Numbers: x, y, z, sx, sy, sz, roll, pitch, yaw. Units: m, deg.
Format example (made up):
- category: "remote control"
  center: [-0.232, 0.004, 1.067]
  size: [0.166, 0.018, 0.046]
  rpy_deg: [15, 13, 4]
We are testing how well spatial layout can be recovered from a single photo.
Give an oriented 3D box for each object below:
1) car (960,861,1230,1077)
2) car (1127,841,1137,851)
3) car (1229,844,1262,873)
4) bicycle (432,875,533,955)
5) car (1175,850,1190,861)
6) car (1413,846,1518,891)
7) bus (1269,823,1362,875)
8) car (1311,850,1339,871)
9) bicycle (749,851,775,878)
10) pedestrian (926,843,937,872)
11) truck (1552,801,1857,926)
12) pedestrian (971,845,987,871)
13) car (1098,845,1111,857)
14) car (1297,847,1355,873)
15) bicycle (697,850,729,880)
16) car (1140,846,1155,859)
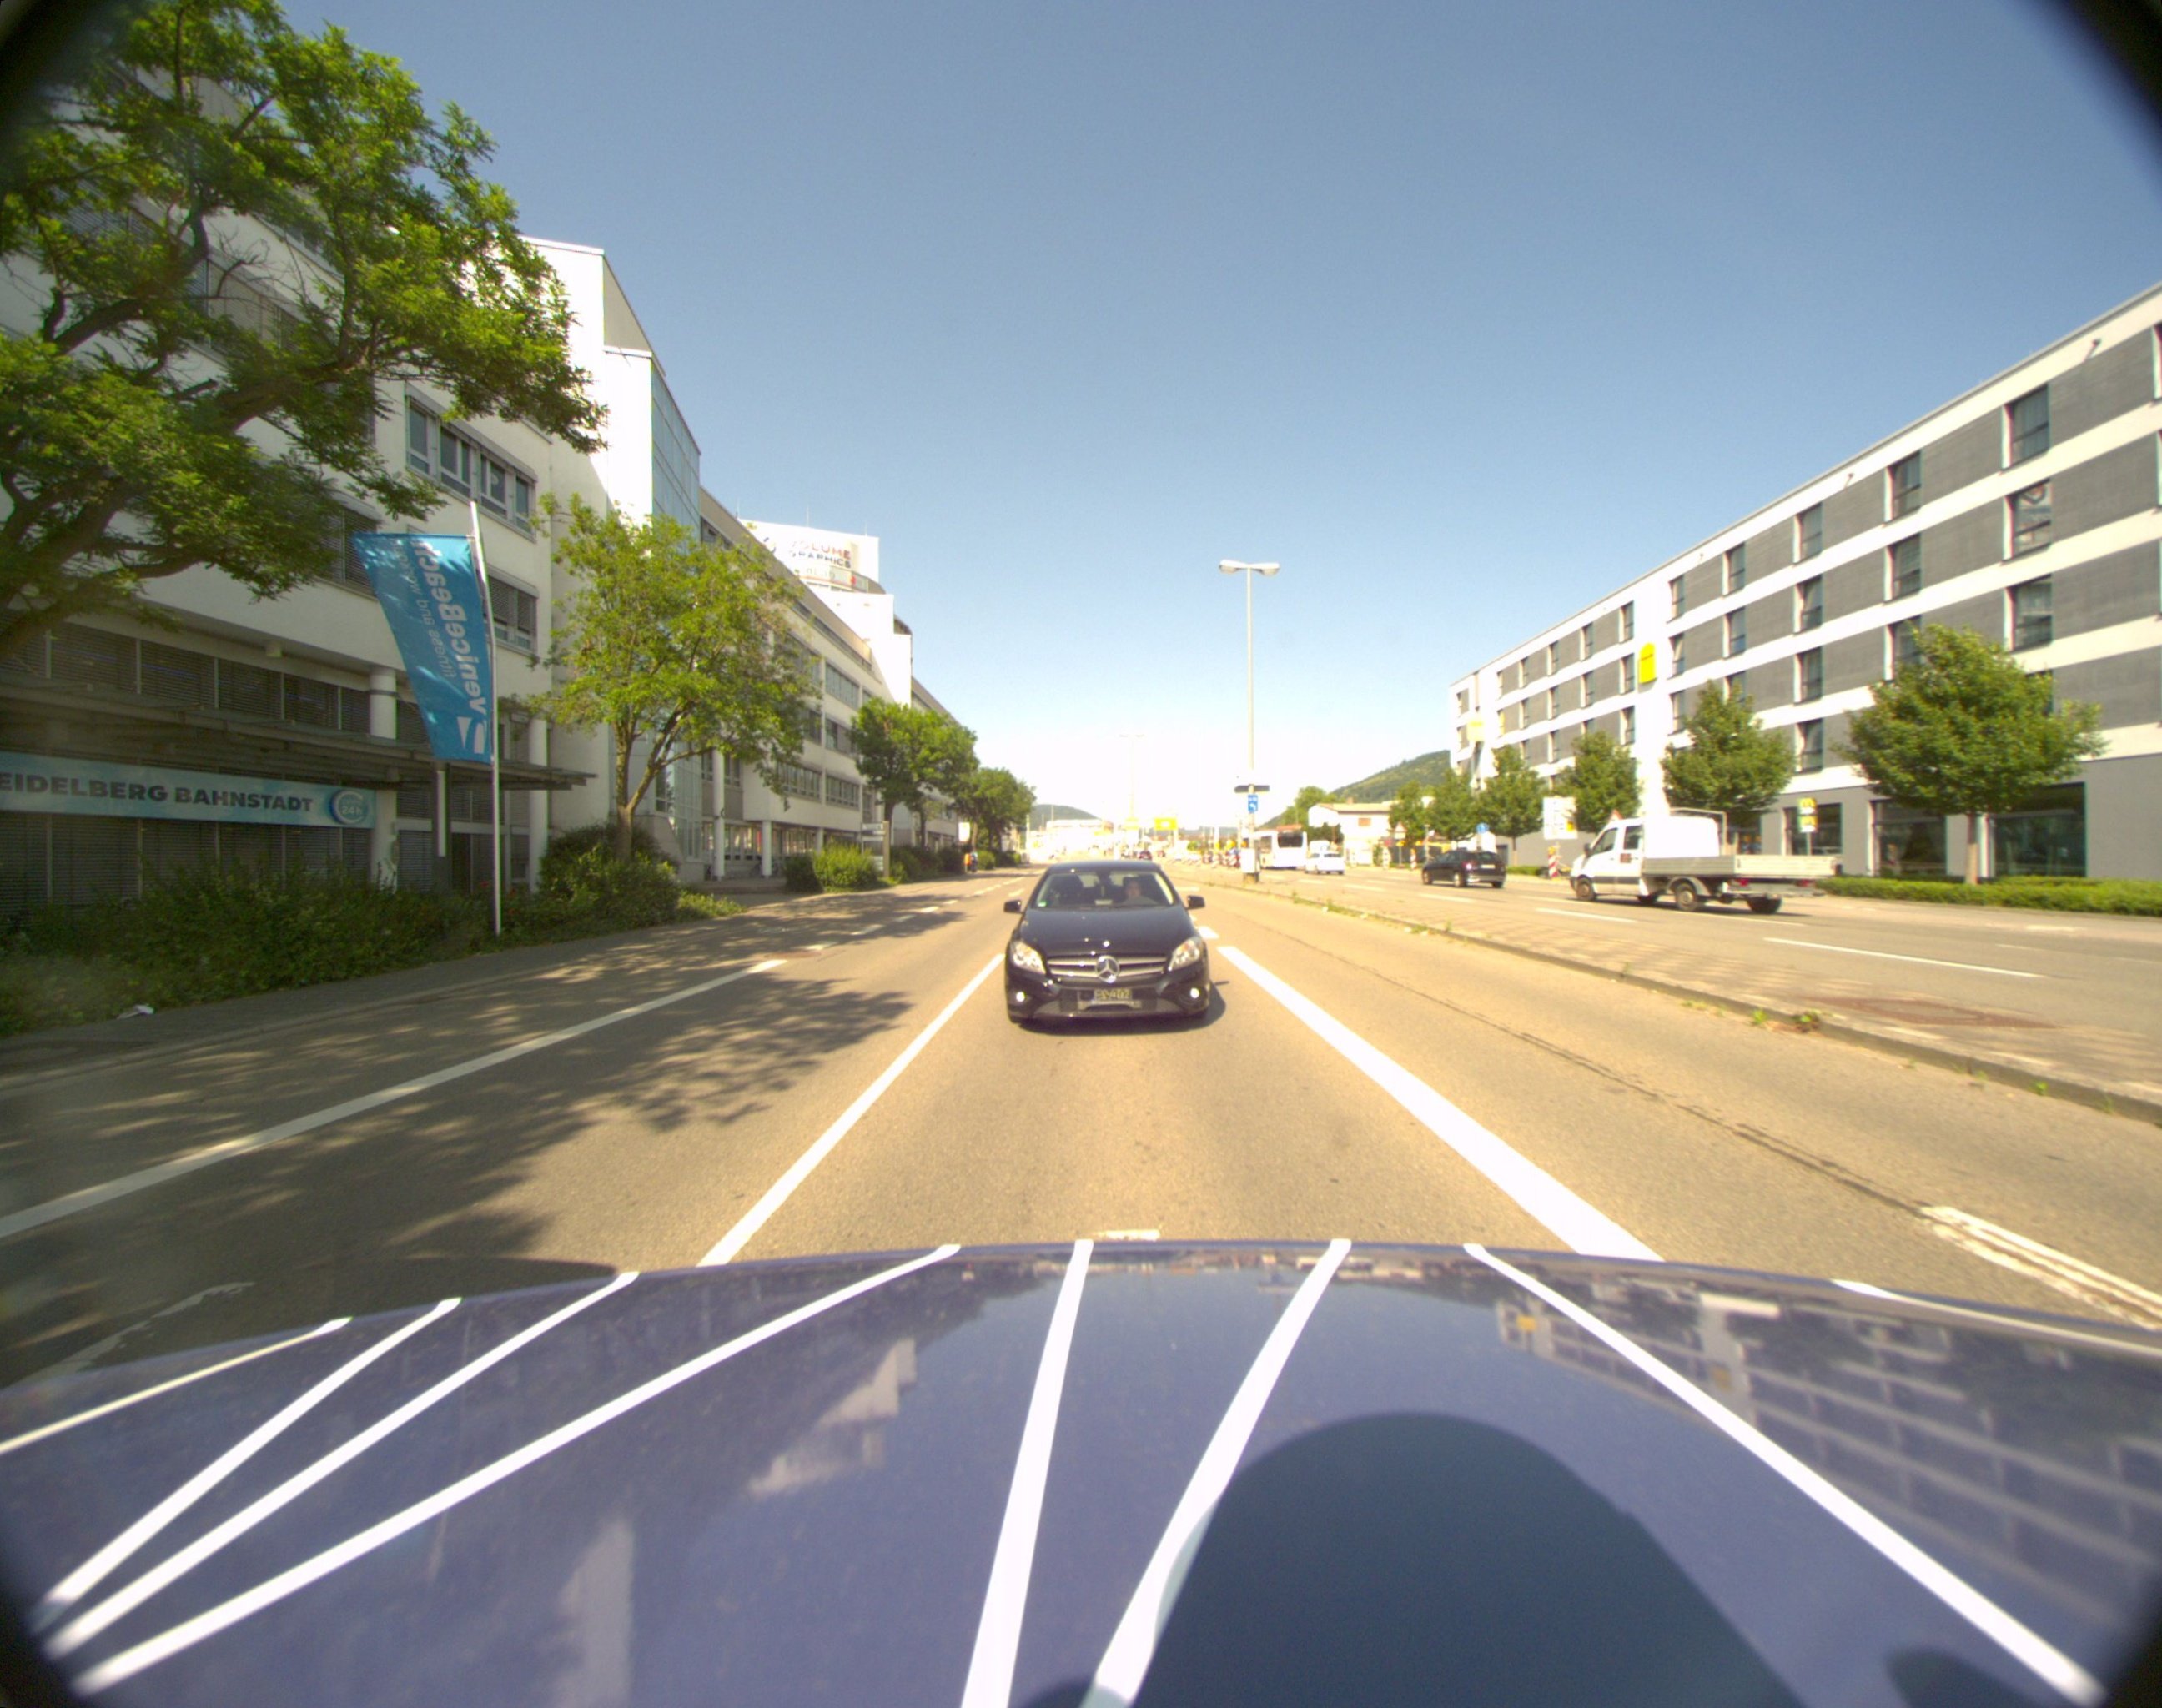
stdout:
- category: "car"
  center: [0.183, 0.847, 7.758]
  size: [1.905, 1.431, 4.694]
  rpy_deg: [-1, 1, 2]
- category: "car"
  center: [11.121, -1.827, 166.153]
  size: [1.998, 2.002, 4.000]
  rpy_deg: [-2, 1, 2]
- category: "car"
  center: [12.361, 0.280, 57.221]
  size: [1.679, 2.002, 4.164]
  rpy_deg: [-2, 1, 2]
- category: "bicycle"
  center: [-10.954, 1.074, 13.985]
  size: [0.506, 1.321, 1.883]
  rpy_deg: [-1, 0, -6]
- category: "car"
  center: [16.260, 0.248, 121.719]
  size: [1.719, 1.609, 3.590]
  rpy_deg: [-1, 1, -4]
- category: "car"
  center: [15.549, 0.525, 30.998]
  size: [1.999, 1.569, 4.411]
  rpy_deg: [-2, 1, -1]
- category: "bus"
  center: [15.458, -0.355, 51.349]
  size: [2.745, 3.061, 11.974]
  rpy_deg: [1, 1, 1]
- category: "car"
  center: [14.939, 0.397, 46.521]
  size: [1.058, 1.200, 2.220]
  rpy_deg: [-2, 1, 3]
- category: "bicycle"
  center: [-16.728, 0.529, 39.870]
  size: [0.506, 1.346, 1.884]
  rpy_deg: [-1, 1, 2]
- category: "pedestrian"
  center: [-12.920, 0.303, 65.601]
  size: [0.717, 2.534, 0.716]
  rpy_deg: [-1, 1, 0]
- category: "truck"
  center: [15.244, 0.095, 19.376]
  size: [2.363, 2.531, 6.435]
  rpy_deg: [3, 2, 1]
- category: "pedestrian"
  center: [-7.775, 0.289, 57.828]
  size: [0.942, 1.876, 1.289]
  rpy_deg: [2, 1, 2]
- category: "car"
  center: [4.241, -0.486, 136.207]
  size: [1.998, 2.002, 4.000]
  rpy_deg: [-2, 1, 4]
- category: "car"
  center: [15.541, 0.346, 48.377]
  size: [1.999, 1.477, 4.410]
  rpy_deg: [2, 1, -4]
- category: "bicycle"
  center: [-17.179, 0.511, 35.482]
  size: [0.506, 1.346, 1.884]
  rpy_deg: [-1, 1, 2]
- category: "car"
  center: [8.661, -0.237, 99.276]
  size: [1.889, 1.608, 4.135]
  rpy_deg: [-1, 1, 4]
